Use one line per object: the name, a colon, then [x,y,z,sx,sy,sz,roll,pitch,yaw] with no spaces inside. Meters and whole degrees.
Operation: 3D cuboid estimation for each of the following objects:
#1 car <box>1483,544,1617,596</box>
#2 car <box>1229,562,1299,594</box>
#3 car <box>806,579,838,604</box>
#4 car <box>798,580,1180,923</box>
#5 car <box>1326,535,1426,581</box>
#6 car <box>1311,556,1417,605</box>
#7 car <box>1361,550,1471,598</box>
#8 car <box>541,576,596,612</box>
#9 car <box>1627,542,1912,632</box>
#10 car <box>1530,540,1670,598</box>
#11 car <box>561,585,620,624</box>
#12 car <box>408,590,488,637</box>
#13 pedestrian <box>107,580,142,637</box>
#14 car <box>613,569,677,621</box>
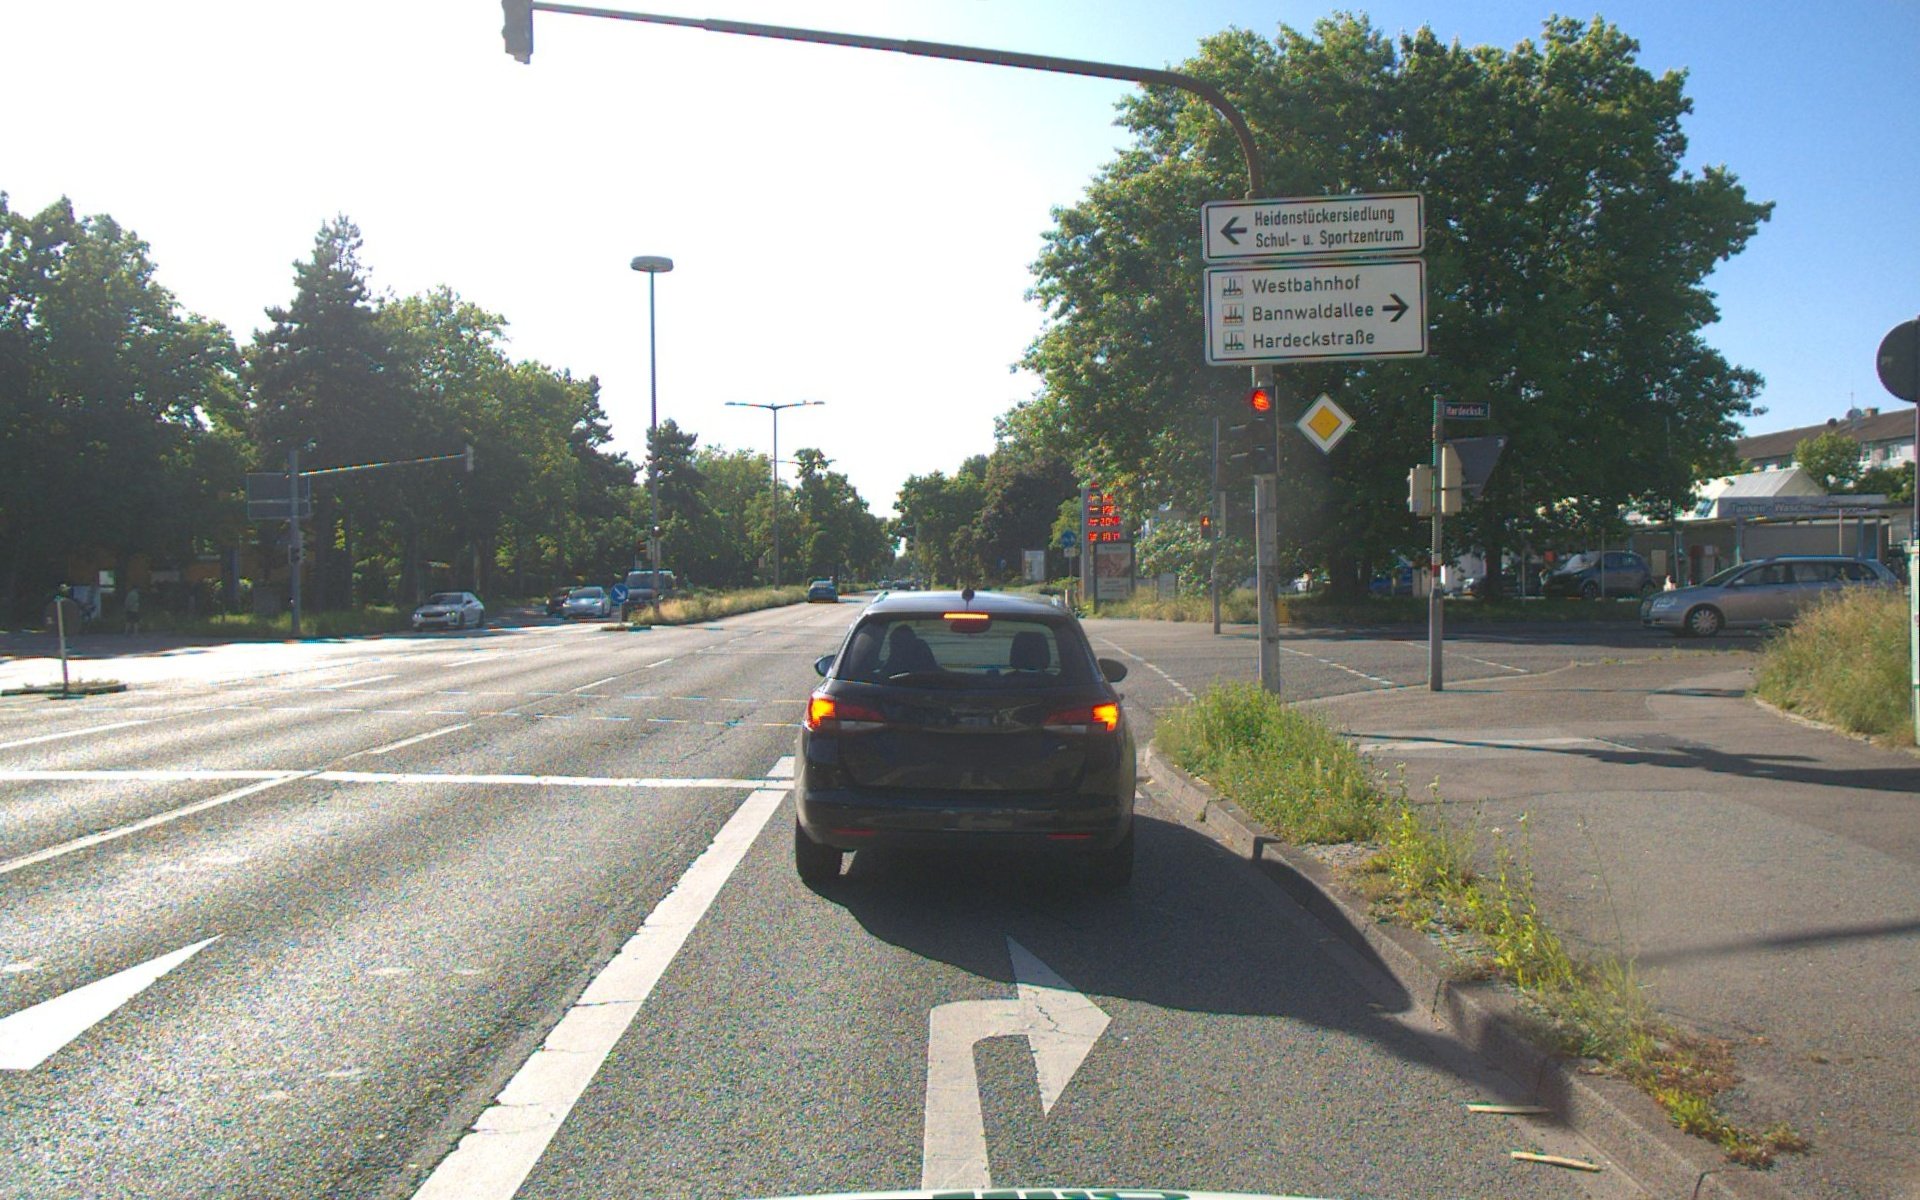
car: [18.816,-0.936,52.780,3.780,1.508,1.794,1,0,-21]
car: [17.433,-1.275,94.881,3.638,1.714,1.703,1,0,-4]
car: [-9.029,-0.537,108.451,1.850,1.579,3.999,-1,0,-1]
car: [0.096,0.678,9.346,1.720,1.535,3.807,0,0,-1]
car: [17.067,-1.711,67.919,3.638,1.714,1.703,1,0,-4]
car: [15.180,-0.717,62.058,3.668,1.714,1.689,1,0,-28]
car: [16.483,-0.934,59.719,3.801,1.590,1.784,1,0,-33]
car: [-20.805,-0.329,87.986,1.953,1.780,4.000,-3,1,-1]
car: [15.404,-0.233,31.721,4.519,1.601,2.002,-1,-1,10]
car: [19.678,-0.946,50.865,3.780,1.640,1.794,1,0,-21]
car: [-17.113,0.202,76.783,1.826,1.713,3.999,1,0,-1]
car: [-19.863,0.514,64.343,1.826,1.713,4.259,1,0,-1]
pedestrian: [-27.598,0.279,54.652,0.828,1.867,0.550,-1,0,3]
car: [-13.140,-0.209,69.185,1.953,2.049,3.999,1,0,-1]
